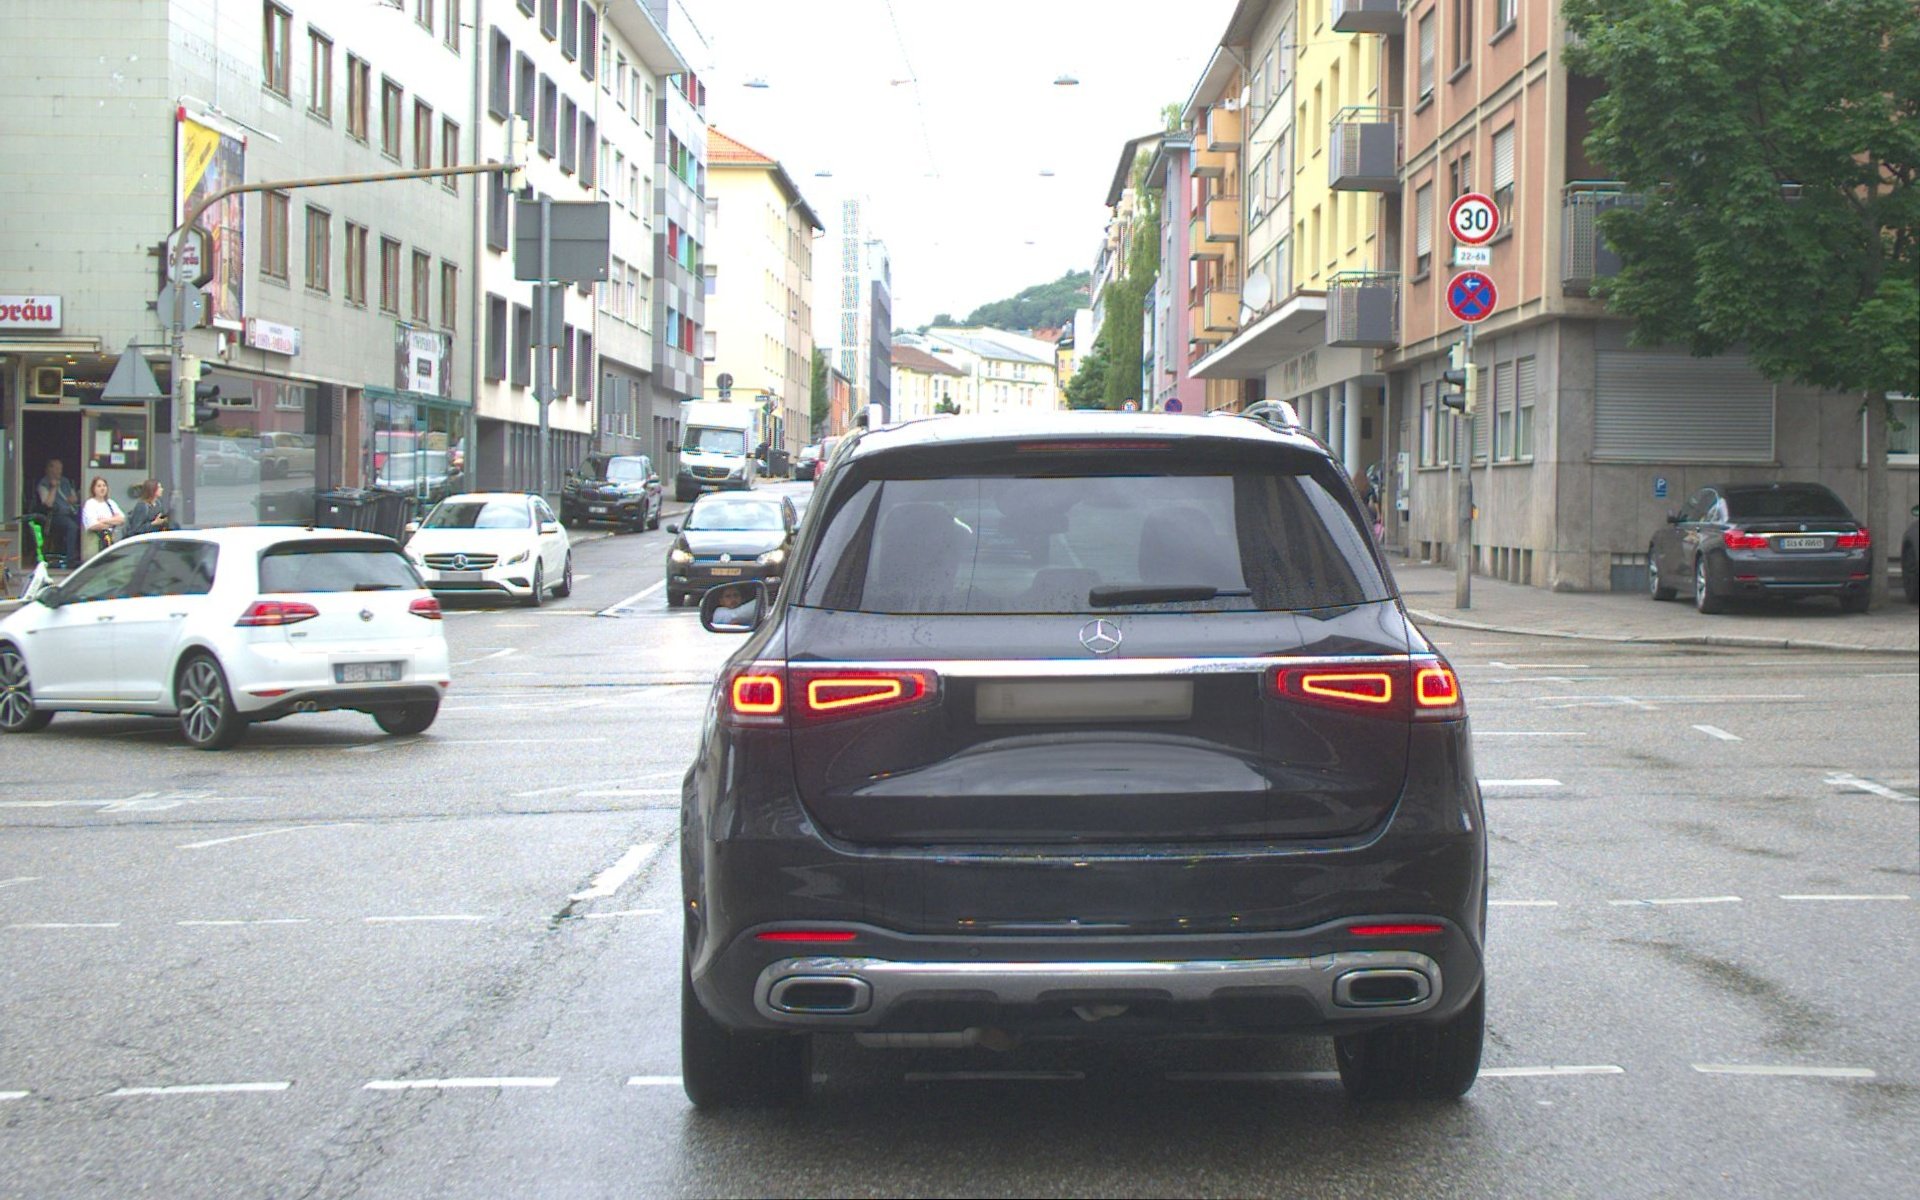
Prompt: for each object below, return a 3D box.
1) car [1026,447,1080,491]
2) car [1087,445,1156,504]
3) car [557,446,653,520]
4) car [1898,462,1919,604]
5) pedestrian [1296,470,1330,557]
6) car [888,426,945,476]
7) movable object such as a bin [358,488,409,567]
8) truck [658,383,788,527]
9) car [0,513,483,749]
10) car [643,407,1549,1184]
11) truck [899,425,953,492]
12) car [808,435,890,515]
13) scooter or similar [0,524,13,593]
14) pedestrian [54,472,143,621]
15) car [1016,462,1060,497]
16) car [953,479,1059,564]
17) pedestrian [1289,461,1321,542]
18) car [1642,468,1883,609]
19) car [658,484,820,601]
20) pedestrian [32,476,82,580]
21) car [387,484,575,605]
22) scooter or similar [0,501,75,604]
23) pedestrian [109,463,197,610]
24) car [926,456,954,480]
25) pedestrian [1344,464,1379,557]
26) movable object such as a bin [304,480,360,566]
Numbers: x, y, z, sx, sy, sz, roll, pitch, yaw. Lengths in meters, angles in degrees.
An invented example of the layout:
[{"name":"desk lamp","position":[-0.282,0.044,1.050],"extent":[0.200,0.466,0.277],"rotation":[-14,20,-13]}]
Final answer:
[{"name":"car","position":[3.726,-5.218,137.146],"extent":[2.016,1.557,4.000],"rotation":[2,0,3]},{"name":"car","position":[4.950,-3.819,105.171],"extent":[2.016,1.557,5.154],"rotation":[2,0,3]},{"name":"car","position":[-7.833,-2.570,76.221],"extent":[1.723,1.597,4.000],"rotation":[0,1,0]},{"name":"car","position":[12.098,-0.763,39.372],"extent":[1.987,1.655,3.999],"rotation":[0,2,6]},{"name":"pedestrian","position":[6.419,-1.573,62.538],"extent":[0.520,1.533,0.569],"rotation":[2,5,1]},{"name":"car","position":[-1.487,-5.174,119.581],"extent":[1.844,1.668,4.000],"rotation":[0,1,1]},{"name":"movable object such as a bin","position":[-9.805,-1.234,58.505],"extent":[0.697,1.311,0.782],"rotation":[2,0,-1]},{"name":"truck","position":[-6.878,-4.169,100.766],"extent":[2.808,3.819,8.144],"rotation":[2,0,2]},{"name":"car","position":[-5.355,0.154,24.228],"extent":[1.831,1.456,4.377],"rotation":[-3,3,-41]},{"name":"car","position":[0.224,0.407,10.074],"extent":[2.020,1.733,4.748],"rotation":[0,1,-2]},{"name":"truck","position":[-2.109,-8.821,215.022],"extent":[2.808,3.819,8.144],"rotation":[2,0,2]},{"name":"car","position":[-3.167,-3.573,98.940],"extent":[2.065,2.233,4.620],"rotation":[0,1,2]},{"name":"scooter or similar","position":[-12.016,-0.522,42.430],"extent":[0.458,0.840,1.323],"rotation":[2,0,-22]},{"name":"pedestrian","position":[-9.793,-0.614,39.084],"extent":[0.708,1.641,0.759],"rotation":[0,5,-36]},{"name":"car","position":[3.912,-6.016,171.252],"extent":[2.016,1.557,4.000],"rotation":[2,0,3]},{"name":"car","position":[0.829,-1.406,61.633],"extent":[1.844,1.484,4.000],"rotation":[0,1,1]},{"name":"pedestrian","position":[6.867,-1.963,68.450],"extent":[0.520,1.550,0.569],"rotation":[2,5,1]},{"name":"car","position":[9.278,-0.742,40.098],"extent":[1.844,1.549,4.796],"rotation":[0,2,2]},{"name":"car","position":[-2.922,-0.794,46.213],"extent":[1.844,1.484,4.000],"rotation":[-1,2,1]},{"name":"pedestrian","position":[-12.320,-0.978,46.913],"extent":[0.518,1.395,0.578],"rotation":[2,0,-3]},{"name":"car","position":[-6.269,-0.761,45.369],"extent":[1.844,1.507,4.000],"rotation":[-1,2,1]},{"name":"scooter or similar","position":[-11.318,-0.571,40.598],"extent":[1.556,1.186,0.501],"rotation":[2,0,-29]},{"name":"pedestrian","position":[-9.371,-0.741,39.922],"extent":[0.708,1.641,0.759],"rotation":[0,5,-36]},{"name":"car","position":[-1.429,-9.279,241.991],"extent":[1.844,1.668,4.000],"rotation":[0,1,1]},{"name":"pedestrian","position":[6.924,-1.541,59.267],"extent":[0.479,1.560,0.558],"rotation":[2,5,1]},{"name":"movable object such as a bin","position":[-9.842,-1.206,53.899],"extent":[0.697,1.311,0.782],"rotation":[2,0,-1]}]
